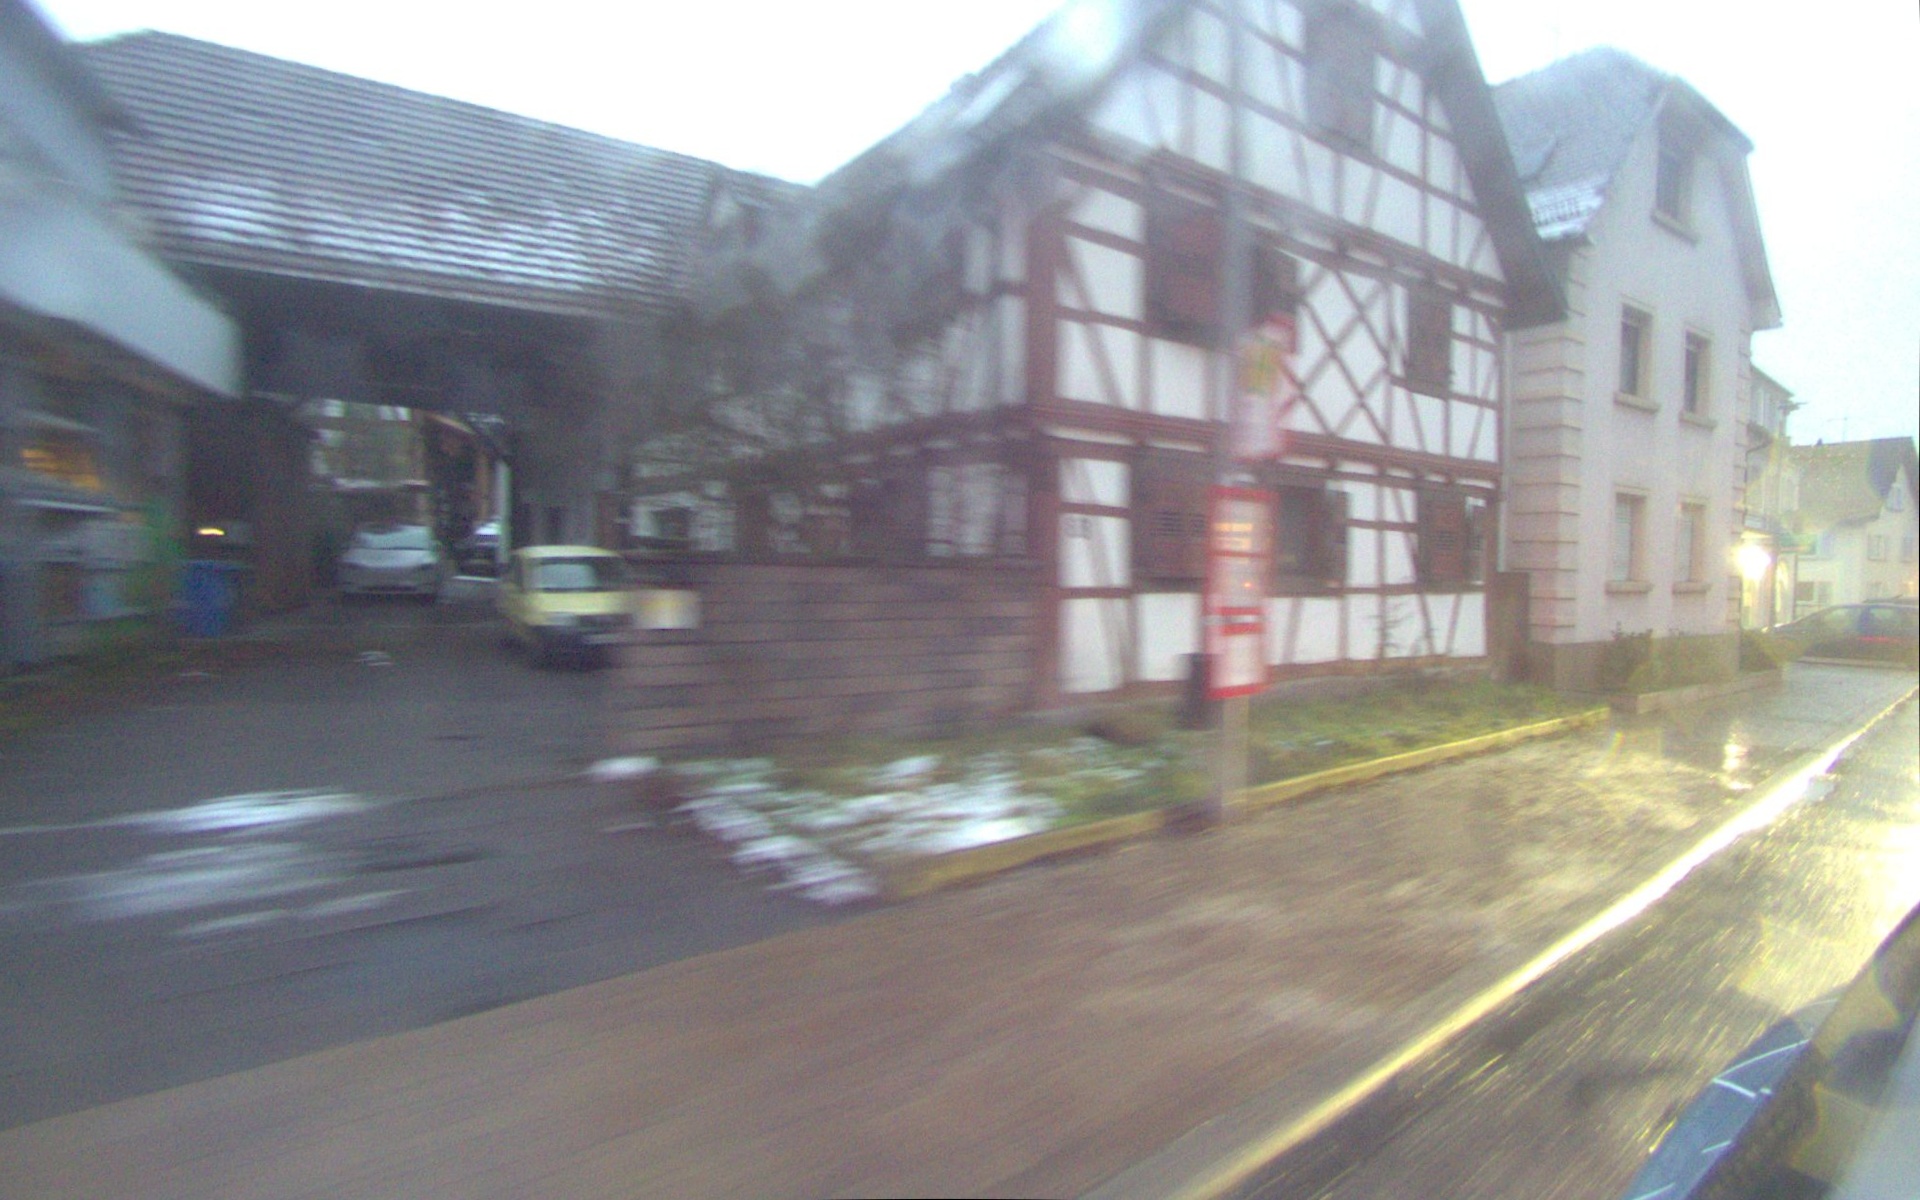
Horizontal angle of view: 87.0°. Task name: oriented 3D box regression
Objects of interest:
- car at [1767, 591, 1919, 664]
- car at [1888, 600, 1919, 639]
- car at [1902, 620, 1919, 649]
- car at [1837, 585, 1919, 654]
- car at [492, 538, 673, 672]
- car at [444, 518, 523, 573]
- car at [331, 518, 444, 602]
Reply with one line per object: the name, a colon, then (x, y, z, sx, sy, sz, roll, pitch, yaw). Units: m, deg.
car: (23.447, 0.685, 26.165, 1.585, 1.647, 3.845, 1, 3, -45)
car: (36.841, 0.793, 37.169, 1.524, 1.384, 3.886, 1, 2, -41)
car: (40.586, 1.483, 40.624, 1.524, 1.141, 3.886, 1, 2, -41)
car: (27.957, 0.588, 29.190, 3.880, 1.900, 1.839, 3, 2, 44)
car: (-5.406, -0.054, 14.268, 1.588, 1.561, 3.430, -3, 6, -34)
car: (-13.444, -1.527, 28.693, 1.668, 1.437, 3.518, 1, 2, -20)
car: (-12.936, -0.990, 23.121, 2.029, 1.622, 4.745, 0, 5, -27)
